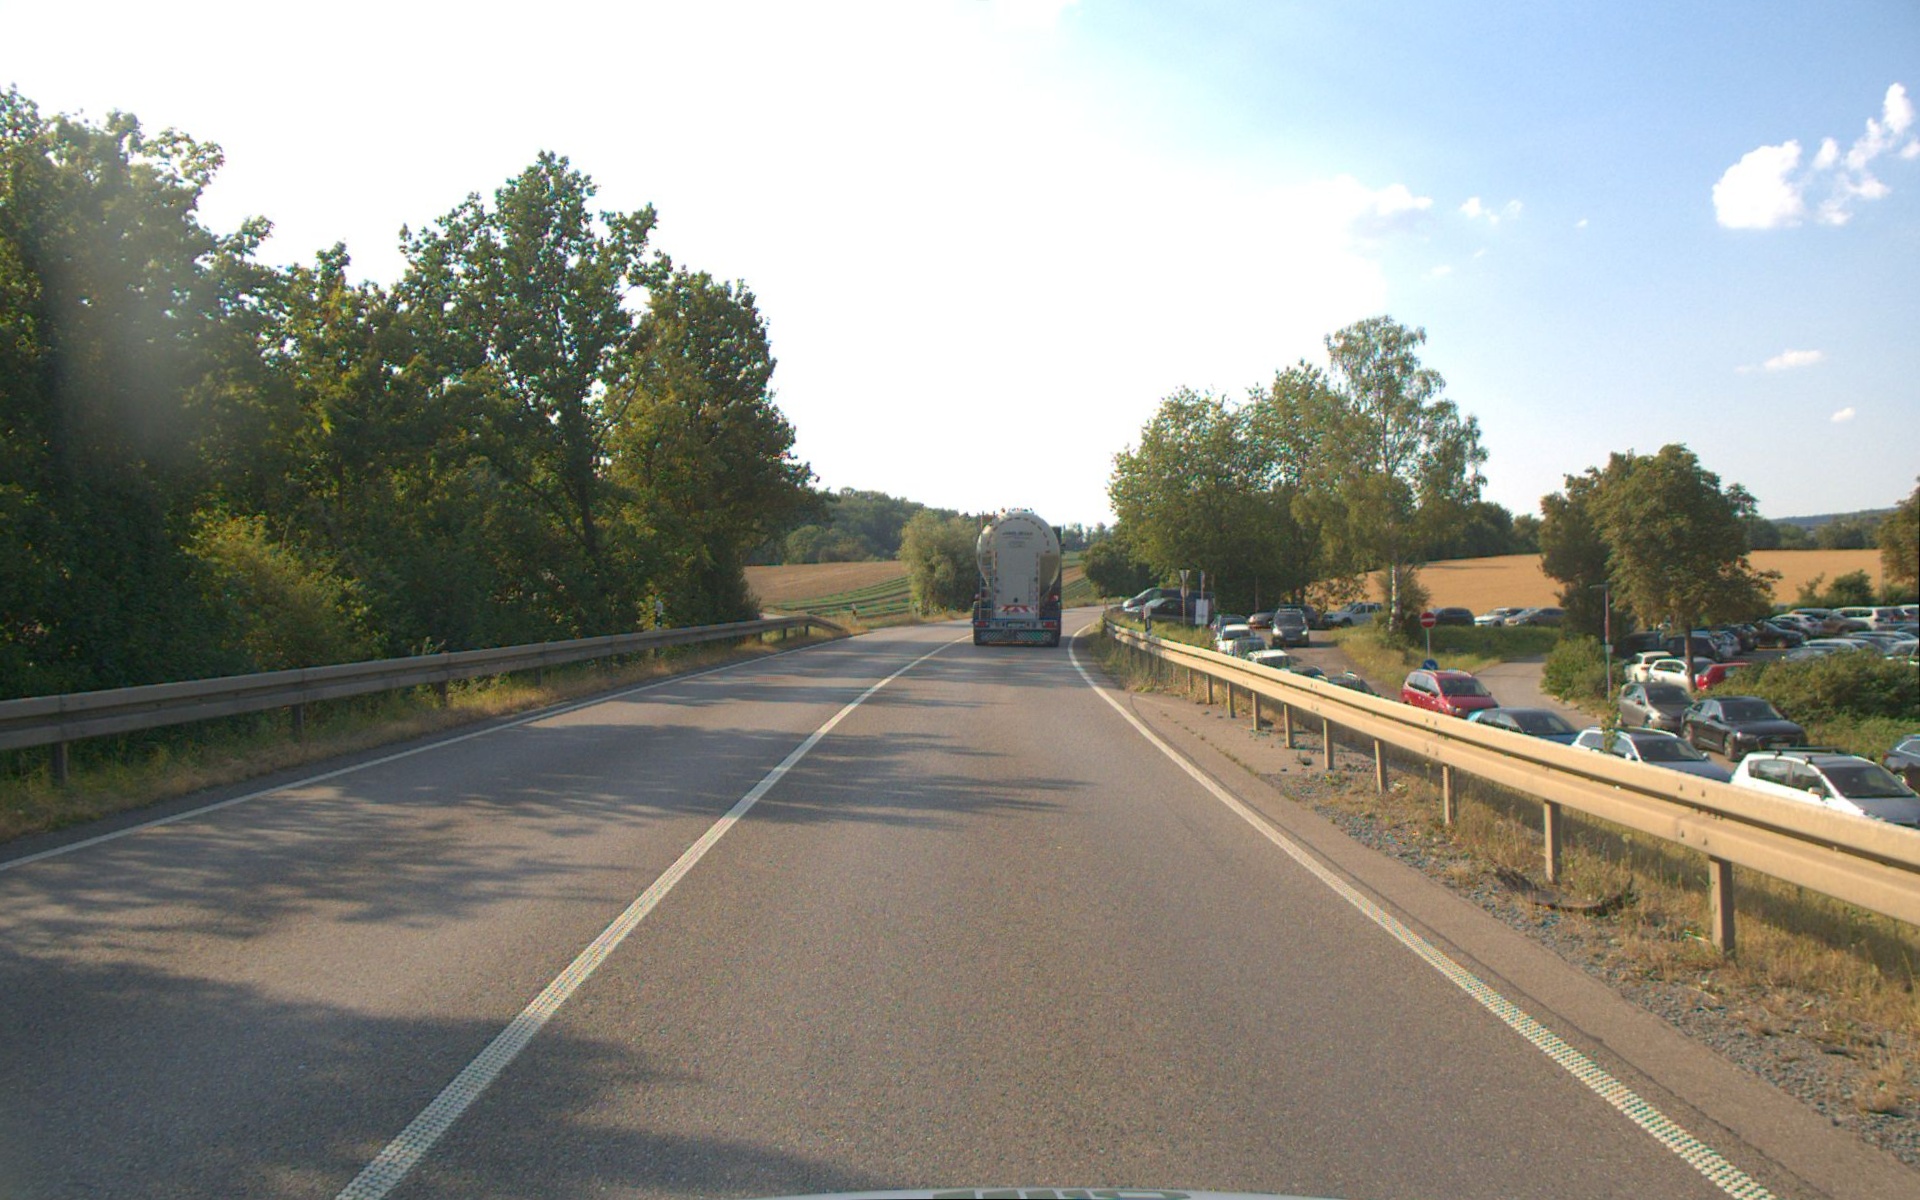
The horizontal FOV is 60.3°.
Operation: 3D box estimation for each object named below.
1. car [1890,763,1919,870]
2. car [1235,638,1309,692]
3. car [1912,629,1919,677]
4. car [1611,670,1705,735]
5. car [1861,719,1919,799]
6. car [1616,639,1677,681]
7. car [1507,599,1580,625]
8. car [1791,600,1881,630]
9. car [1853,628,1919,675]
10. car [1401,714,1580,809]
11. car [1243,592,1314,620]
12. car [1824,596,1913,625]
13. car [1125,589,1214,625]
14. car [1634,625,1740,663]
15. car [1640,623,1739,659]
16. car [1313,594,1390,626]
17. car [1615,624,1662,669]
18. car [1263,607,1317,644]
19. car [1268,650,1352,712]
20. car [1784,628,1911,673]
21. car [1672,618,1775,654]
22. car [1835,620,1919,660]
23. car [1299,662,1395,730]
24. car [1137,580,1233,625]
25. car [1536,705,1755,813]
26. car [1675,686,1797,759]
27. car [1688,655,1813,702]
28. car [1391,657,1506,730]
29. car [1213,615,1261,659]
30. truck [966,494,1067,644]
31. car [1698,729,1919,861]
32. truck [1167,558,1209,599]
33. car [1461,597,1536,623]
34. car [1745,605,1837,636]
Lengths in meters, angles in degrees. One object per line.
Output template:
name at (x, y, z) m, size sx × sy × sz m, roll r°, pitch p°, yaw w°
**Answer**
car at (16.188, 3.491, 24.046) m, size 1.859 × 1.586 × 4.767 m, roll 5°, pitch 0°, yaw -13°
car at (11.849, 2.439, 63.035) m, size 1.853 × 1.586 × 4.783 m, roll -4°, pitch 2°, yaw 0°
car at (38.163, 1.982, 61.975) m, size 4.058 × 1.784 × 1.815 m, roll 0°, pitch 0°, yaw -7°
car at (20.904, 3.042, 49.674) m, size 1.665 × 1.422 × 4.105 m, roll -3°, pitch 2°, yaw 10°
car at (20.749, 3.377, 33.943) m, size 1.667 × 1.423 × 4.782 m, roll -3°, pitch 0°, yaw -3°
car at (28.761, 2.477, 69.362) m, size 1.652 × 1.512 × 4.296 m, roll 0°, pitch 1°, yaw 13°
car at (35.748, 0.732, 101.301) m, size 4.529 × 1.466 × 1.793 m, roll 1°, pitch 1°, yaw -31°
car at (53.533, 0.894, 101.149) m, size 1.787 × 1.720 × 4.529 m, roll -1°, pitch 1°, yaw -40°
car at (37.536, 2.010, 65.381) m, size 4.076 × 1.700 × 1.645 m, roll -1°, pitch 0°, yaw -20°
car at (12.822, 3.861, 40.332) m, size 1.861 × 1.586 × 4.764 m, roll -4°, pitch 2°, yaw -14°
car at (18.531, 0.348, 96.180) m, size 3.663 × 1.466 × 1.801 m, roll 1°, pitch 0°, yaw -20°
car at (56.618, 0.651, 103.108) m, size 1.787 × 1.720 × 4.529 m, roll -1°, pitch 1°, yaw -40°
car at (10.842, 0.374, 85.602) m, size 4.256 × 1.535 × 1.707 m, roll 4°, pitch 1°, yaw -25°
car at (34.996, 2.098, 79.636) m, size 4.495 × 1.720 × 1.800 m, roll 0°, pitch 1°, yaw 29°
car at (37.140, 2.065, 84.225) m, size 4.495 × 1.720 × 1.800 m, roll 0°, pitch 1°, yaw 29°
car at (23.213, 0.580, 98.066) m, size 4.144 × 1.778 × 1.800 m, roll -1°, pitch 1°, yaw -21°
car at (31.140, 2.092, 75.819) m, size 1.762 × 1.874 × 4.593 m, roll 0°, pitch 1°, yaw 25°
car at (15.866, 1.197, 79.729) m, size 1.852 × 1.704 × 4.784 m, roll 0°, pitch 0°, yaw 3°
car at (12.030, 2.757, 57.165) m, size 1.853 × 1.586 × 4.783 m, roll -4°, pitch 2°, yaw 0°
car at (37.224, 2.087, 69.490) m, size 1.775 × 1.720 × 4.559 m, roll -1°, pitch 1°, yaw -26°
car at (39.435, 1.819, 85.477) m, size 1.787 × 1.720 × 4.529 m, roll -1°, pitch 1°, yaw -40°
car at (42.896, 1.838, 75.949) m, size 1.787 × 1.720 × 4.529 m, roll -1°, pitch 1°, yaw -40°
car at (12.093, 2.962, 51.948) m, size 1.853 × 1.586 × 4.783 m, roll -4°, pitch 2°, yaw 0°
car at (12.504, 0.116, 92.179) m, size 5.033 × 1.977 × 1.976 m, roll 5°, pitch 1°, yaw 4°
car at (14.499, 3.313, 35.306) m, size 1.860 × 1.586 × 4.767 m, roll -4°, pitch 2°, yaw -13°
car at (20.438, 3.180, 43.753) m, size 1.665 × 1.423 × 4.789 m, roll -3°, pitch 1°, yaw 10°
car at (27.878, 2.756, 58.413) m, size 3.684 × 1.570 × 1.656 m, roll 0°, pitch 0°, yaw 12°
car at (15.324, 2.899, 52.175) m, size 1.854 × 1.716 × 5.084 m, roll -4°, pitch 2°, yaw -3°
car at (12.424, 1.641, 74.375) m, size 1.852 × 1.586 × 4.787 m, roll -3°, pitch 2°, yaw 7°
truck at (1.834, -0.941, 53.243) m, size 2.832 × 4.215 × 13.176 m, roll 0°, pitch 1°, yaw 2°
car at (15.558, 3.397, 29.683) m, size 1.858 × 1.586 × 4.771 m, roll -2°, pitch 2°, yaw -10°
truck at (25.077, -2.376, 181.143) m, size 3.116 × 4.301 × 13.184 m, roll -1°, pitch 1°, yaw 14°
car at (33.926, 0.632, 104.237) m, size 4.579 × 1.533 × 1.980 m, roll 0°, pitch 0°, yaw -30°
car at (48.704, 1.210, 97.041) m, size 1.787 × 1.720 × 4.529 m, roll -1°, pitch 1°, yaw -40°
